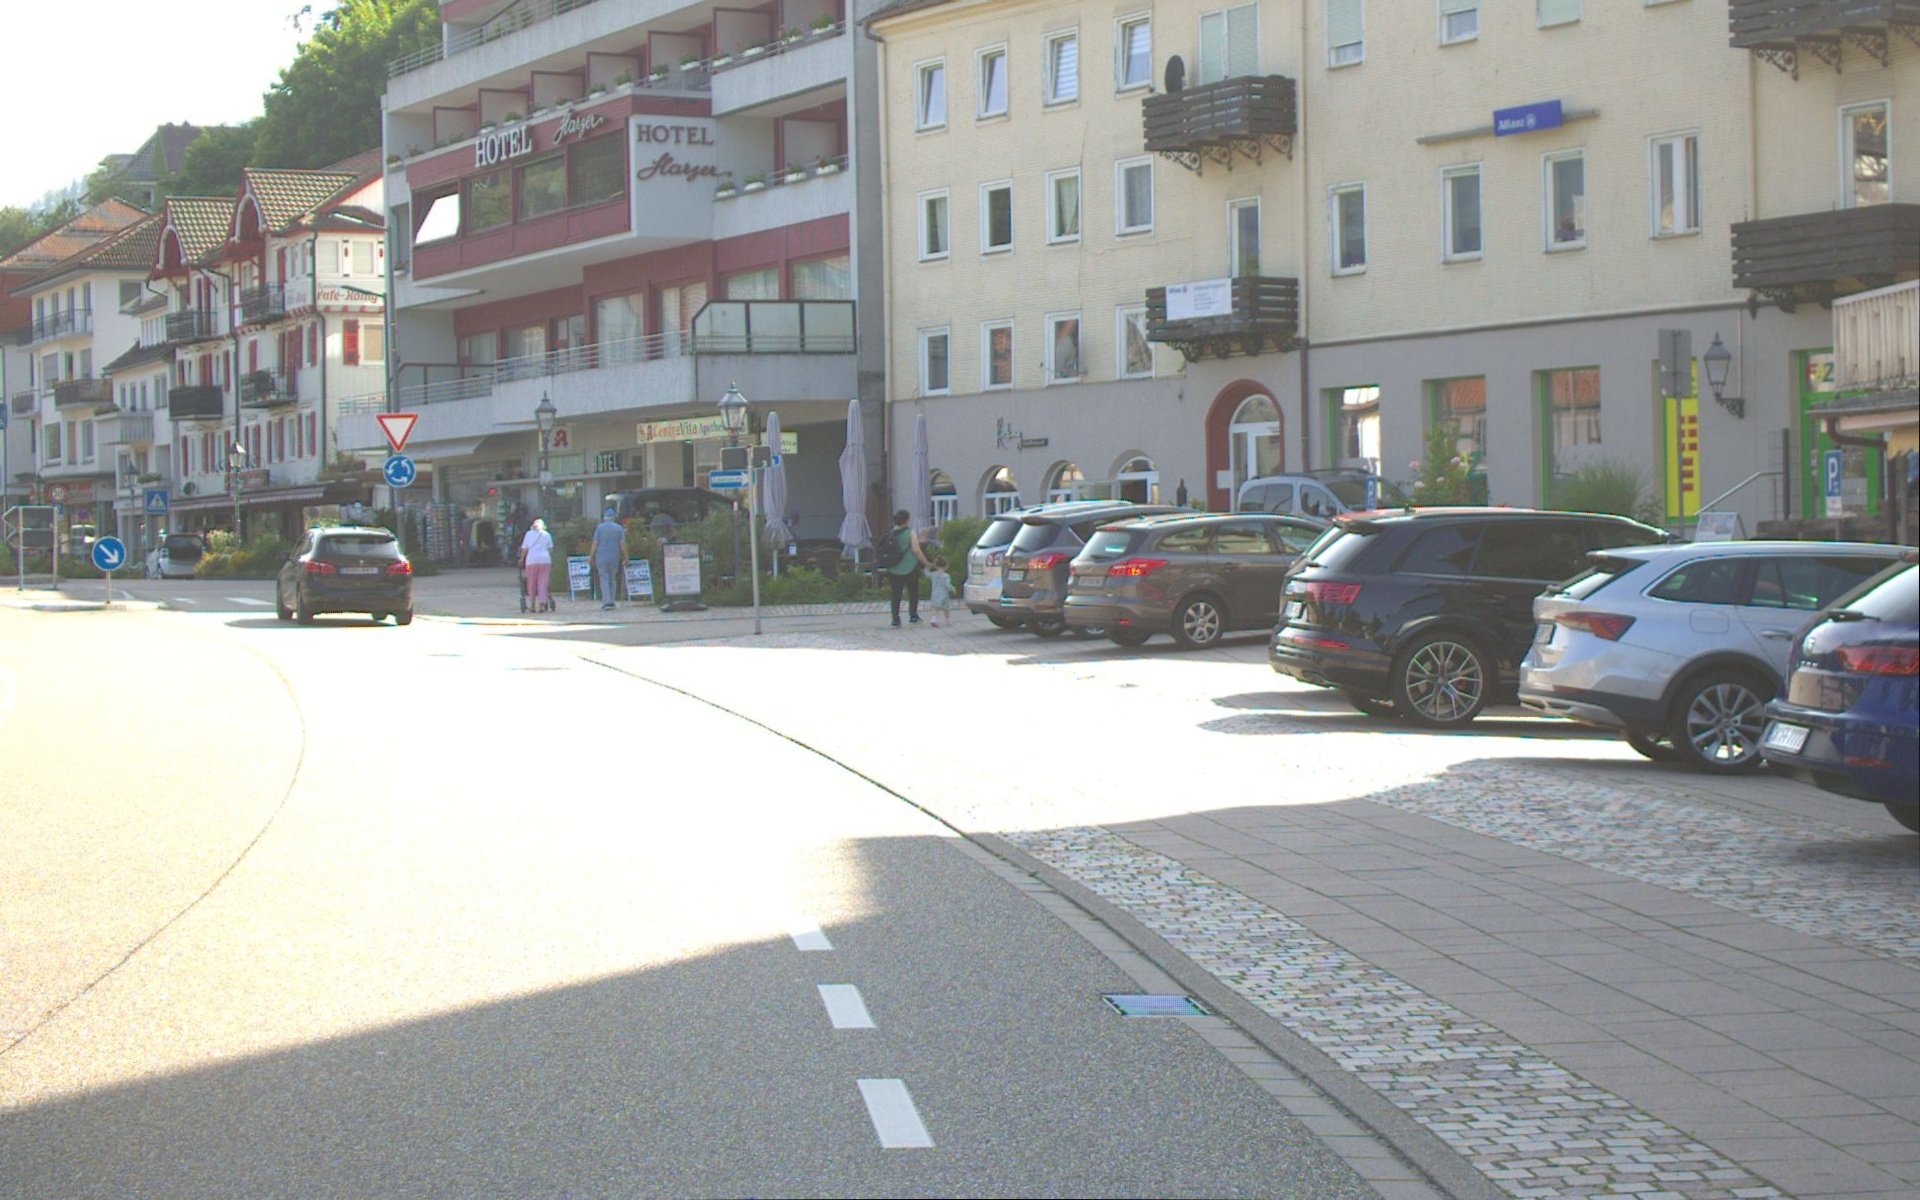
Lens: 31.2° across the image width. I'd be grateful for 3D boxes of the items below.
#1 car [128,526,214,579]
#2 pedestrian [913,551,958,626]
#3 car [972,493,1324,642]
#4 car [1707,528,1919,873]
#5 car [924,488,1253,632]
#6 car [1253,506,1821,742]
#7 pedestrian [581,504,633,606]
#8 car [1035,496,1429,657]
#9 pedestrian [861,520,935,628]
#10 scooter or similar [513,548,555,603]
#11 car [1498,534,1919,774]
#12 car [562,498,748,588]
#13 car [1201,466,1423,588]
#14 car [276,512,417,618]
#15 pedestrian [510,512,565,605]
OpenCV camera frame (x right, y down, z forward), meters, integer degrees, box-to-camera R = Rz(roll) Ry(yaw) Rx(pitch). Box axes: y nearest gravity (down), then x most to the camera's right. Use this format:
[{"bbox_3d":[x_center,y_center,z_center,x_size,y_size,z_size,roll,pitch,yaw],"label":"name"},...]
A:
[{"bbox_3d":[-24.733,-1.498,107.680,1.676,1.615,4.001,-1,1,-27],"label":"car"},{"bbox_3d":[-0.336,-0.157,46.987,0.417,0.998,0.530,-2,2,20],"label":"pedestrian"},{"bbox_3d":[2.304,-0.434,42.167,3.860,1.544,1.773,-4,3,-23],"label":"car"},{"bbox_3d":[5.564,0.472,15.552,3.909,1.456,1.736,2,1,-2],"label":"car"},{"bbox_3d":[1.689,-0.553,45.144,3.860,1.607,1.773,-4,3,-23],"label":"car"},{"bbox_3d":[4.478,0.170,27.089,4.083,1.660,1.773,2,1,-2],"label":"car"},{"bbox_3d":[-6.064,-0.777,59.078,0.668,1.723,0.708,-1,1,-25],"label":"pedestrian"},{"bbox_3d":[3.072,-0.304,38.854,4.009,1.511,1.773,-4,3,-23],"label":"car"},{"bbox_3d":[-0.848,-0.359,47.030,0.736,1.437,0.632,-2,2,30],"label":"pedestrian"},{"bbox_3d":[-7.367,-0.432,59.497,0.596,0.947,0.474,-1,1,-25],"label":"scooter or similar"},{"bbox_3d":[5.782,0.347,22.069,4.356,1.456,1.772,1,0,0],"label":"car"},{"bbox_3d":[-5.783,-1.090,65.157,3.162,1.657,1.595,-1,1,-23],"label":"car"},{"bbox_3d":[6.020,-1.284,59.091,1.857,2.006,3.678,-1,3,-34],"label":"car"},{"bbox_3d":[-9.932,-0.593,55.451,1.727,1.569,3.754,-1,3,-18],"label":"car"},{"bbox_3d":[-7.291,-0.727,59.327,0.757,1.588,0.628,-1,1,-25],"label":"pedestrian"}]
